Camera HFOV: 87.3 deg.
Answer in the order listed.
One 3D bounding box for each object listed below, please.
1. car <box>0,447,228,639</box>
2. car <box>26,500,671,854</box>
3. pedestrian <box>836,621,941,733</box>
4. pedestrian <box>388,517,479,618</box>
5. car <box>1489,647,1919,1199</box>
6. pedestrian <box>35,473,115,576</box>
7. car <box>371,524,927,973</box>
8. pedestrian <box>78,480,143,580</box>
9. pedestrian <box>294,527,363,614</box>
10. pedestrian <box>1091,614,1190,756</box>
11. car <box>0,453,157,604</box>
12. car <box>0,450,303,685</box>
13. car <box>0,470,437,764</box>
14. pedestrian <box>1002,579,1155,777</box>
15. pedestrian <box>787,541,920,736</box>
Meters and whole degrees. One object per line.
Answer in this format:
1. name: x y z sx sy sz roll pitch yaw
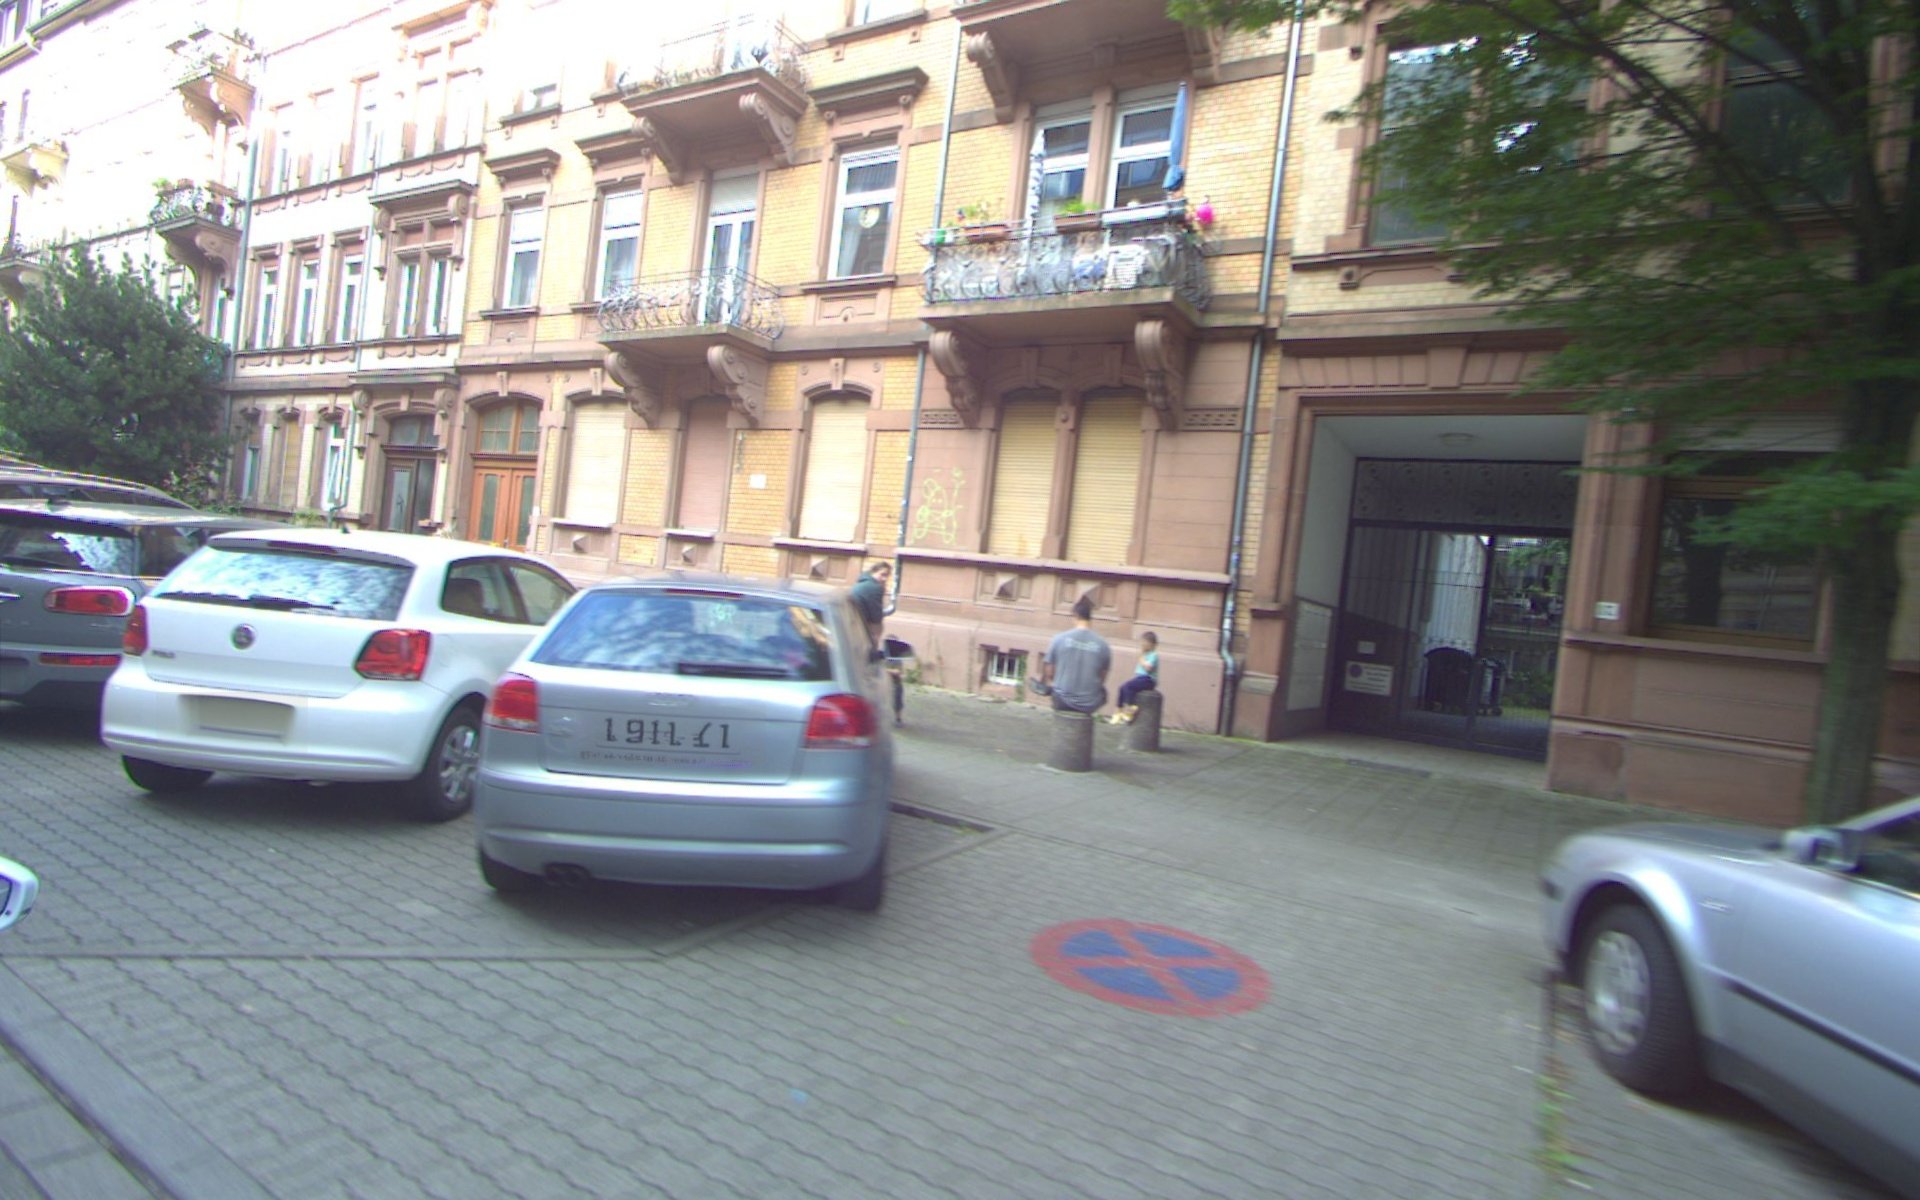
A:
1. car: -10.060 -0.635 10.343 1.722 1.846 4.400 5 1 0
2. car: -3.351 0.284 6.545 1.703 1.470 3.995 5 2 0
3. pedestrian: -0.699 0.738 9.842 0.782 0.973 0.554 6 1 29
4. pedestrian: -8.608 -0.517 16.465 0.798 1.516 0.929 7 2 25
5. car: 3.266 1.076 2.084 1.760 1.470 4.608 6 1 0
6. pedestrian: -15.860 -1.332 18.038 0.688 1.715 0.647 7 0 -12
7. car: -1.225 0.501 5.580 1.853 1.480 3.995 5 1 -4
8. pedestrian: -15.180 -1.241 17.985 0.622 1.679 0.574 7 0 32
9. pedestrian: -9.512 -0.434 15.163 0.662 1.236 0.600 7 3 31
10. pedestrian: 1.767 0.823 9.916 0.707 1.295 0.570 6 -1 -7
11. car: -13.017 -1.011 12.284 1.779 1.809 4.638 9 3 30
12. car: -8.035 -0.345 8.768 1.805 1.763 3.998 6 1 1
13. car: -5.798 -0.030 7.531 1.836 1.569 3.993 6 2 -5
14. pedestrian: 0.990 0.644 8.621 0.986 1.521 0.719 7 1 -6
15. pedestrian: -0.977 0.340 9.265 0.819 1.655 0.732 6 1 29
